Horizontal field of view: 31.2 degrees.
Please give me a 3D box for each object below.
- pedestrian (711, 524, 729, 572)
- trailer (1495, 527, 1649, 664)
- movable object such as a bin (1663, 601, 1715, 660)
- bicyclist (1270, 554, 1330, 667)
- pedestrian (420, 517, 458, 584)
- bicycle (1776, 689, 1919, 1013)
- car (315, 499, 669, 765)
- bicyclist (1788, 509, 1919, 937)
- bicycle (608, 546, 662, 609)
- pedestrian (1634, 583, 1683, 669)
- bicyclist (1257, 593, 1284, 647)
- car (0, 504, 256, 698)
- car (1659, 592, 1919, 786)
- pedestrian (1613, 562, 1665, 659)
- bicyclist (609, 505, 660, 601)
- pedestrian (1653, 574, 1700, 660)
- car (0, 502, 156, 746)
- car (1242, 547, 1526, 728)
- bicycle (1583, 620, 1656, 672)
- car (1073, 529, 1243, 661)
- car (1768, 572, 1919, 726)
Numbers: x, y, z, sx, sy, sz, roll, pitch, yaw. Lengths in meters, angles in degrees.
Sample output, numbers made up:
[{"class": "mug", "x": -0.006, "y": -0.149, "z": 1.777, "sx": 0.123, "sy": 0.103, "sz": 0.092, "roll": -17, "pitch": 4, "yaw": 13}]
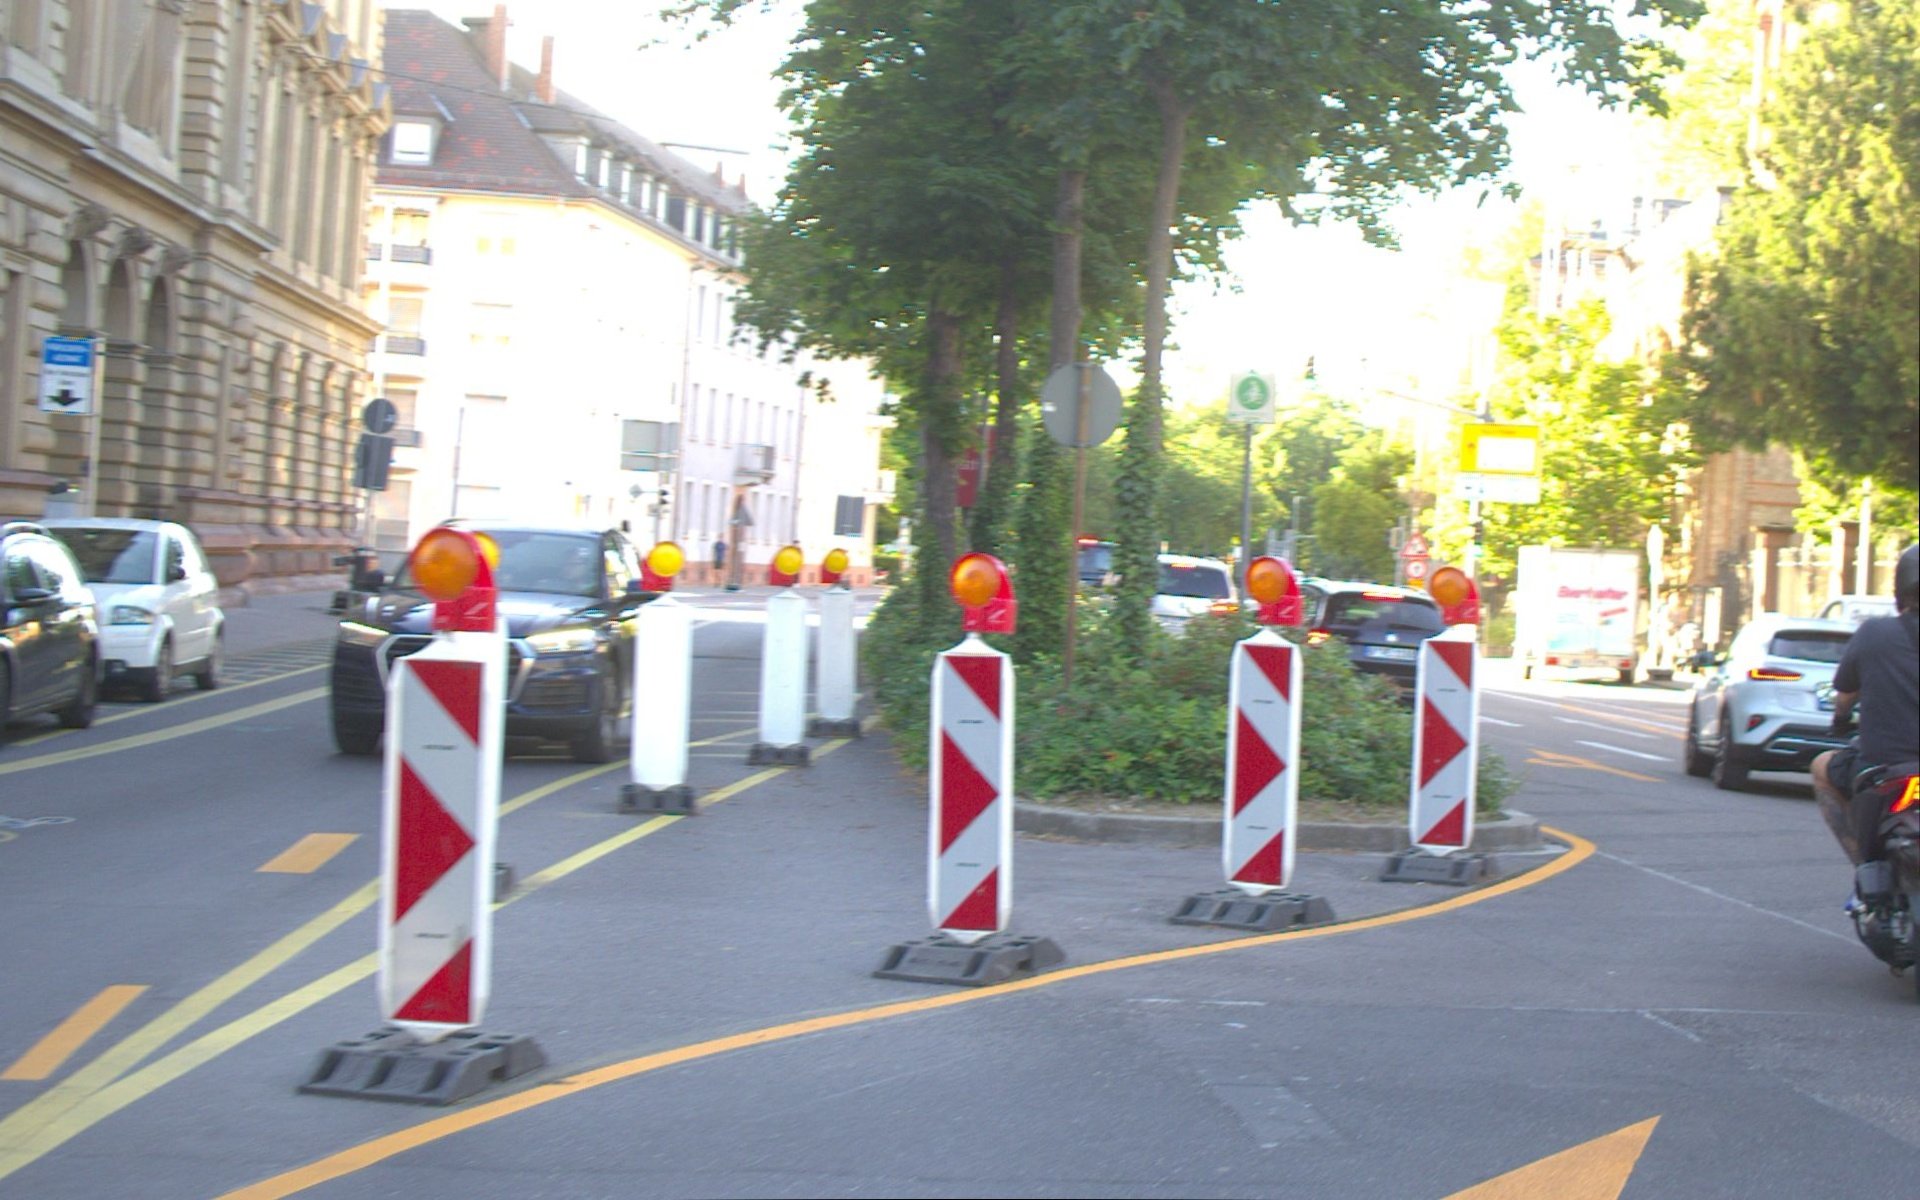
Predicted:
[{"class": "pedestrian", "x": -8.462, "y": -1.834, "z": 121.399, "sx": 0.480, "sy": 1.652, "sz": 0.472, "roll": 3, "pitch": 1, "yaw": 3}, {"class": "trailer", "x": 11.839, "y": -0.124, "z": 66.750, "sx": 2.079, "sy": 2.519, "sz": 4.492, "roll": 2, "pitch": 1, "yaw": 0}, {"class": "movable object such as a bin", "x": 14.535, "y": 0.598, "z": 68.572, "sx": 0.711, "sy": 1.113, "sz": 1.051, "roll": 2, "pitch": 1, "yaw": -4}, {"class": "bicyclist", "x": 5.148, "y": 0.157, "z": 52.130, "sx": 0.672, "sy": 1.646, "sz": 0.887, "roll": 5, "pitch": 1, "yaw": -1}, {"class": "pedestrian", "x": -12.766, "y": -1.215, "z": 84.308, "sx": 0.631, "sy": 1.578, "sz": 0.818, "roll": 6, "pitch": 1, "yaw": 0}, {"class": "bicycle", "x": 3.651, "y": 0.925, "z": 13.101, "sx": 0.871, "sy": 1.039, "sz": 2.452, "roll": 5, "pitch": 1, "yaw": 11}, {"class": "car", "x": -3.251, "y": 0.169, "z": 24.777, "sx": 1.877, "sy": 1.665, "sz": 4.655, "roll": 2, "pitch": 1, "yaw": 0}, {"class": "bicyclist", "x": 3.684, "y": 0.472, "z": 13.052, "sx": 0.868, "sy": 1.518, "sz": 1.230, "roll": 6, "pitch": 1, "yaw": 12}, {"class": "bicycle", "x": -6.267, "y": -0.434, "z": 66.338, "sx": 0.880, "sy": 1.190, "sz": 2.175, "roll": 1, "pitch": 1, "yaw": -2}, {"class": "pedestrian", "x": 14.623, "y": 0.549, "z": 71.964, "sx": 0.640, "sy": 1.762, "sz": 0.736, "roll": 4, "pitch": 1, "yaw": 35}, {"class": "bicyclist", "x": 9.672, "y": 0.629, "z": 107.019, "sx": 0.636, "sy": 1.608, "sz": 1.284, "roll": 5, "pitch": 1, "yaw": 2}, {"class": "car", "x": -7.369, "y": -0.030, "z": 30.157, "sx": 1.667, "sy": 1.502, "sz": 3.847, "roll": 3, "pitch": 1, "yaw": -2}, {"class": "car", "x": 7.252, "y": 0.711, "z": 29.122, "sx": 1.994, "sy": 1.448, "sz": 4.000, "roll": 3, "pitch": 0, "yaw": 3}, {"class": "pedestrian", "x": 13.681, "y": 0.208, "z": 69.303, "sx": 0.715, "sy": 1.888, "sz": 0.890, "roll": 3, "pitch": 1, "yaw": -4}, {"class": "bicyclist", "x": -6.262, "y": -0.900, "z": 66.240, "sx": 0.880, "sy": 1.828, "sz": 1.286, "roll": 1, "pitch": 0, "yaw": -2}, {"class": "pedestrian", "x": 14.480, "y": 0.341, "z": 69.482, "sx": 0.682, "sy": 1.695, "sz": 0.694, "roll": 3, "pitch": 1, "yaw": -2}, {"class": "car", "x": -6.920, "y": 0.074, "z": 23.457, "sx": 1.879, "sy": 1.502, "sz": 4.644, "roll": 2, "pitch": 1, "yaw": -2}, {"class": "car", "x": 4.384, "y": 0.338, "z": 36.326, "sx": 1.993, "sy": 1.652, "sz": 4.737, "roll": 4, "pitch": 1, "yaw": -4}, {"class": "bicycle", "x": 14.465, "y": 1.009, "z": 75.417, "sx": 1.466, "sy": 1.035, "sz": 0.479, "roll": 3, "pitch": 1, "yaw": -1}, {"class": "car", "x": 2.867, "y": -0.111, "z": 50.758, "sx": 1.991, "sy": 1.743, "sz": 4.748, "roll": 3, "pitch": 1, "yaw": -2}, {"class": "car", "x": 13.043, "y": 0.686, "z": 46.974, "sx": 2.014, "sy": 1.939, "sz": 5.483, "roll": 5, "pitch": 0, "yaw": -7}]
